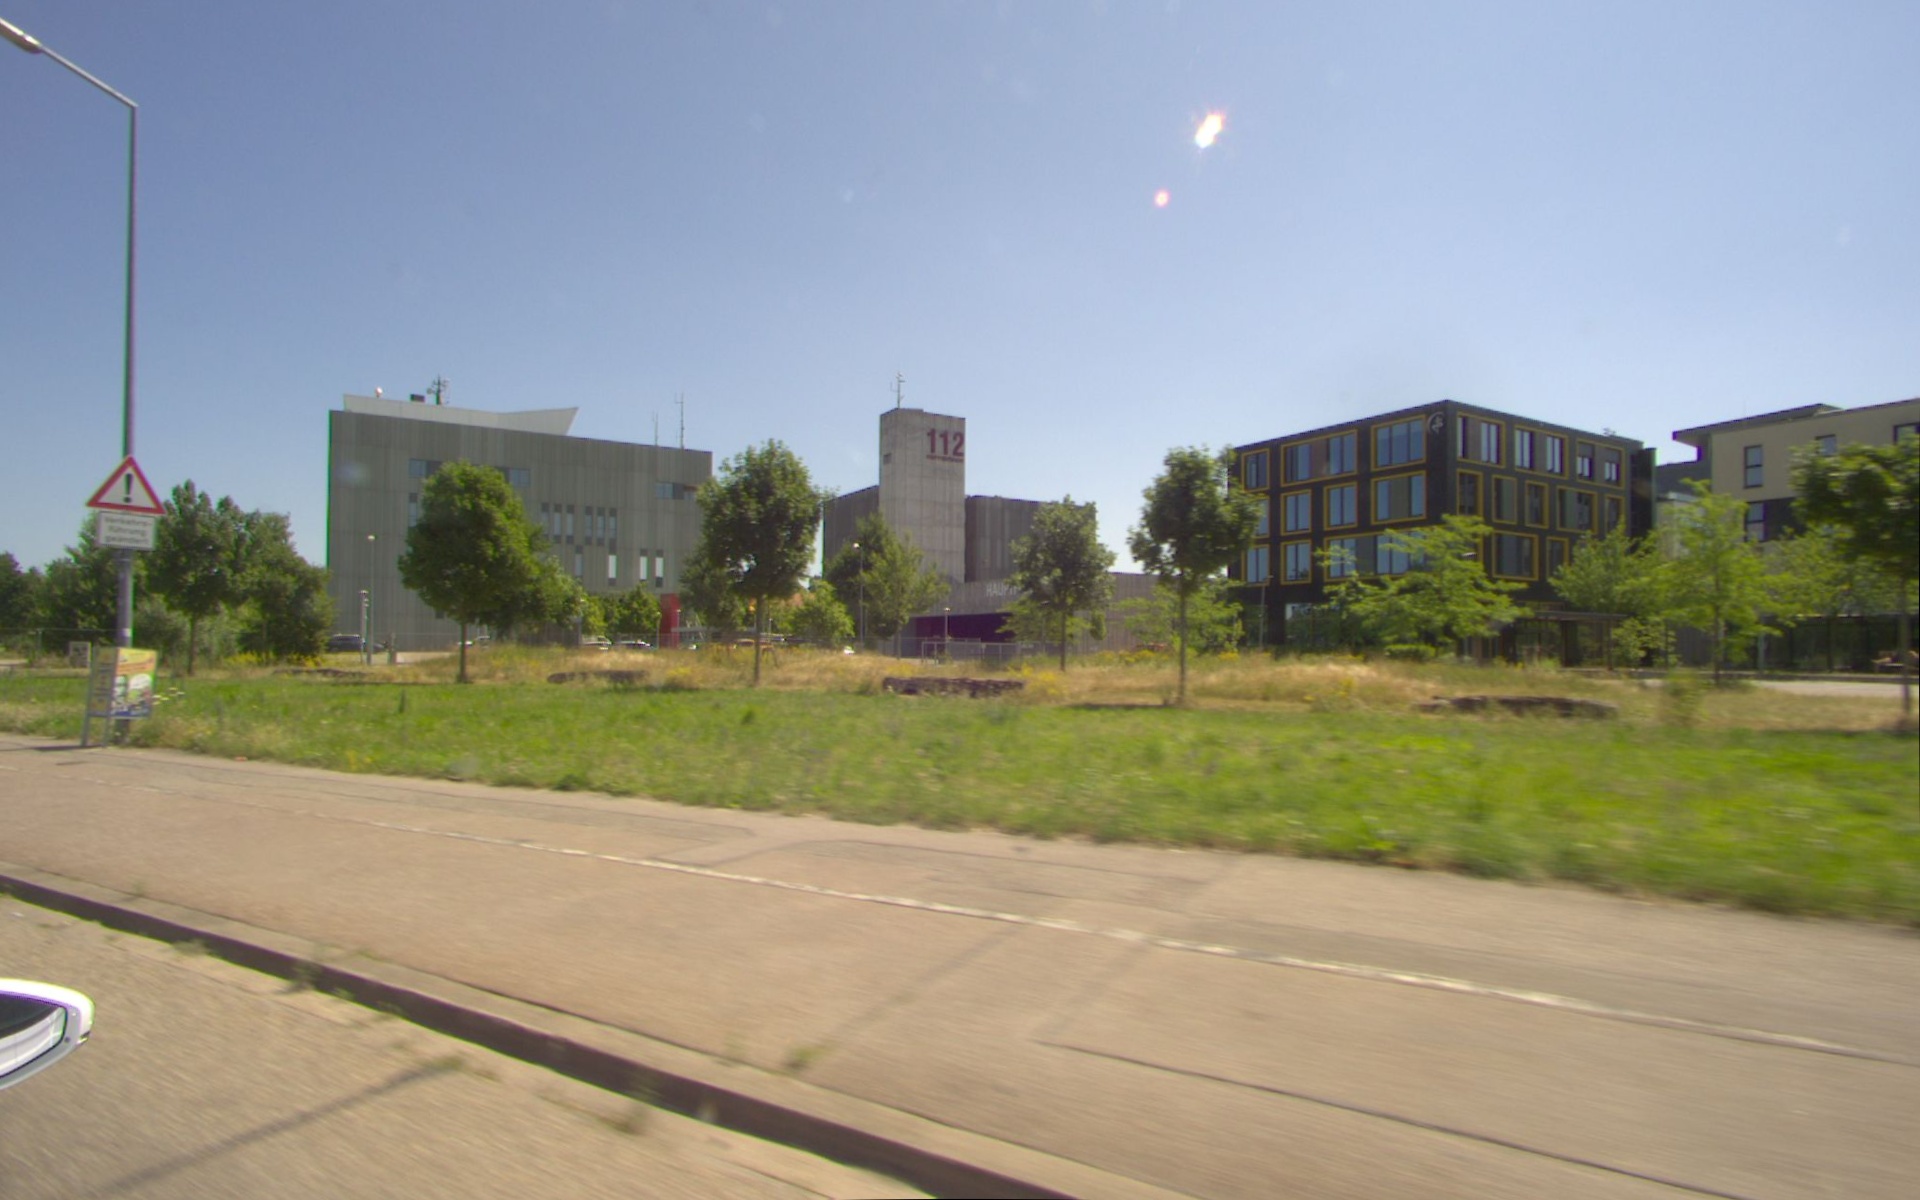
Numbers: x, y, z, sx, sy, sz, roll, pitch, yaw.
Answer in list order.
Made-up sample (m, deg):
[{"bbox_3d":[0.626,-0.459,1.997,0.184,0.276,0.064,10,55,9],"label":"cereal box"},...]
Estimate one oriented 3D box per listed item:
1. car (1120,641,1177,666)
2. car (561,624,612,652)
[{"bbox_3d":[16.920,4.789,90.153,2.205,2.141,5.137,2,-3,-29],"label":"car"},{"bbox_3d":[-31.743,3.271,85.071,3.801,2.323,1.733,2,-2,-31],"label":"car"}]
